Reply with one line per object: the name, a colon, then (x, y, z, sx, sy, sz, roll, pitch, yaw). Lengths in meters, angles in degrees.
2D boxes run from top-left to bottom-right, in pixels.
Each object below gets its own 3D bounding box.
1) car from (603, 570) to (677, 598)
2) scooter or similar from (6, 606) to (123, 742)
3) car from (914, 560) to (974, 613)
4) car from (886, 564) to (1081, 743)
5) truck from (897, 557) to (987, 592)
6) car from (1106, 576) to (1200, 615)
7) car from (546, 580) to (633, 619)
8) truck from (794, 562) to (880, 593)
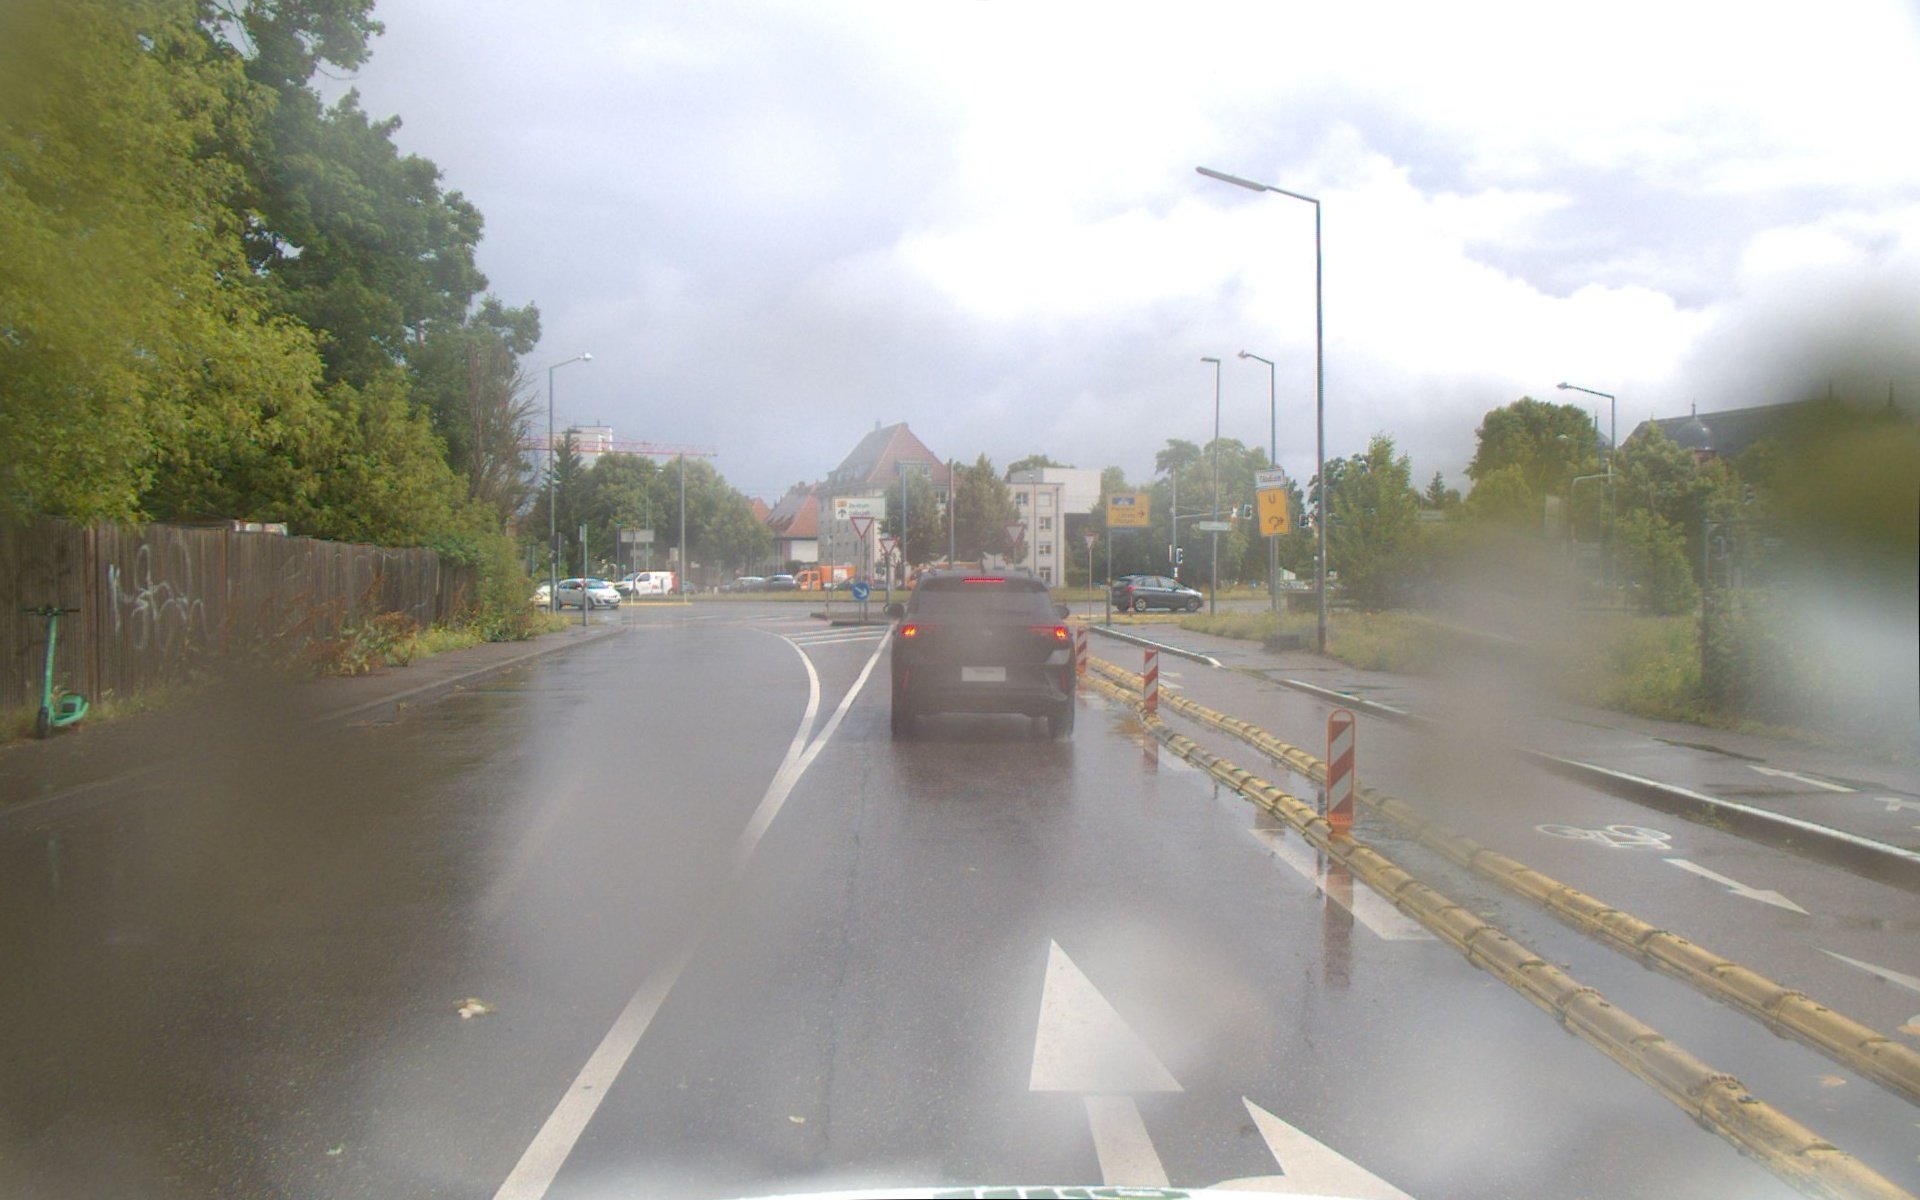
car: (-22.404, -1.122, 116.044, 1.859, 1.909, 5.105, 0, 1, 40)
scooter or similar: (-8.239, 0.655, 15.259, 0.551, 1.183, 1.206, 0, 0, -8)
car: (-0.528, -0.505, 59.547, 1.825, 1.840, 4.406, 0, 1, 4)
car: (0.134, 0.476, 16.856, 1.675, 1.601, 3.680, 1, 0, -4)
truck: (-1.358, -1.985, 127.731, 6.921, 2.696, 2.330, 0, 1, 0)
car: (8.532, -0.231, 72.966, 3.898, 1.673, 1.655, 0, 1, -29)
car: (-18.040, -0.047, 80.516, 3.918, 1.862, 1.994, 0, 1, 35)
truck: (-10.045, -1.858, 134.745, 6.601, 2.485, 2.421, -1, 1, -20)
